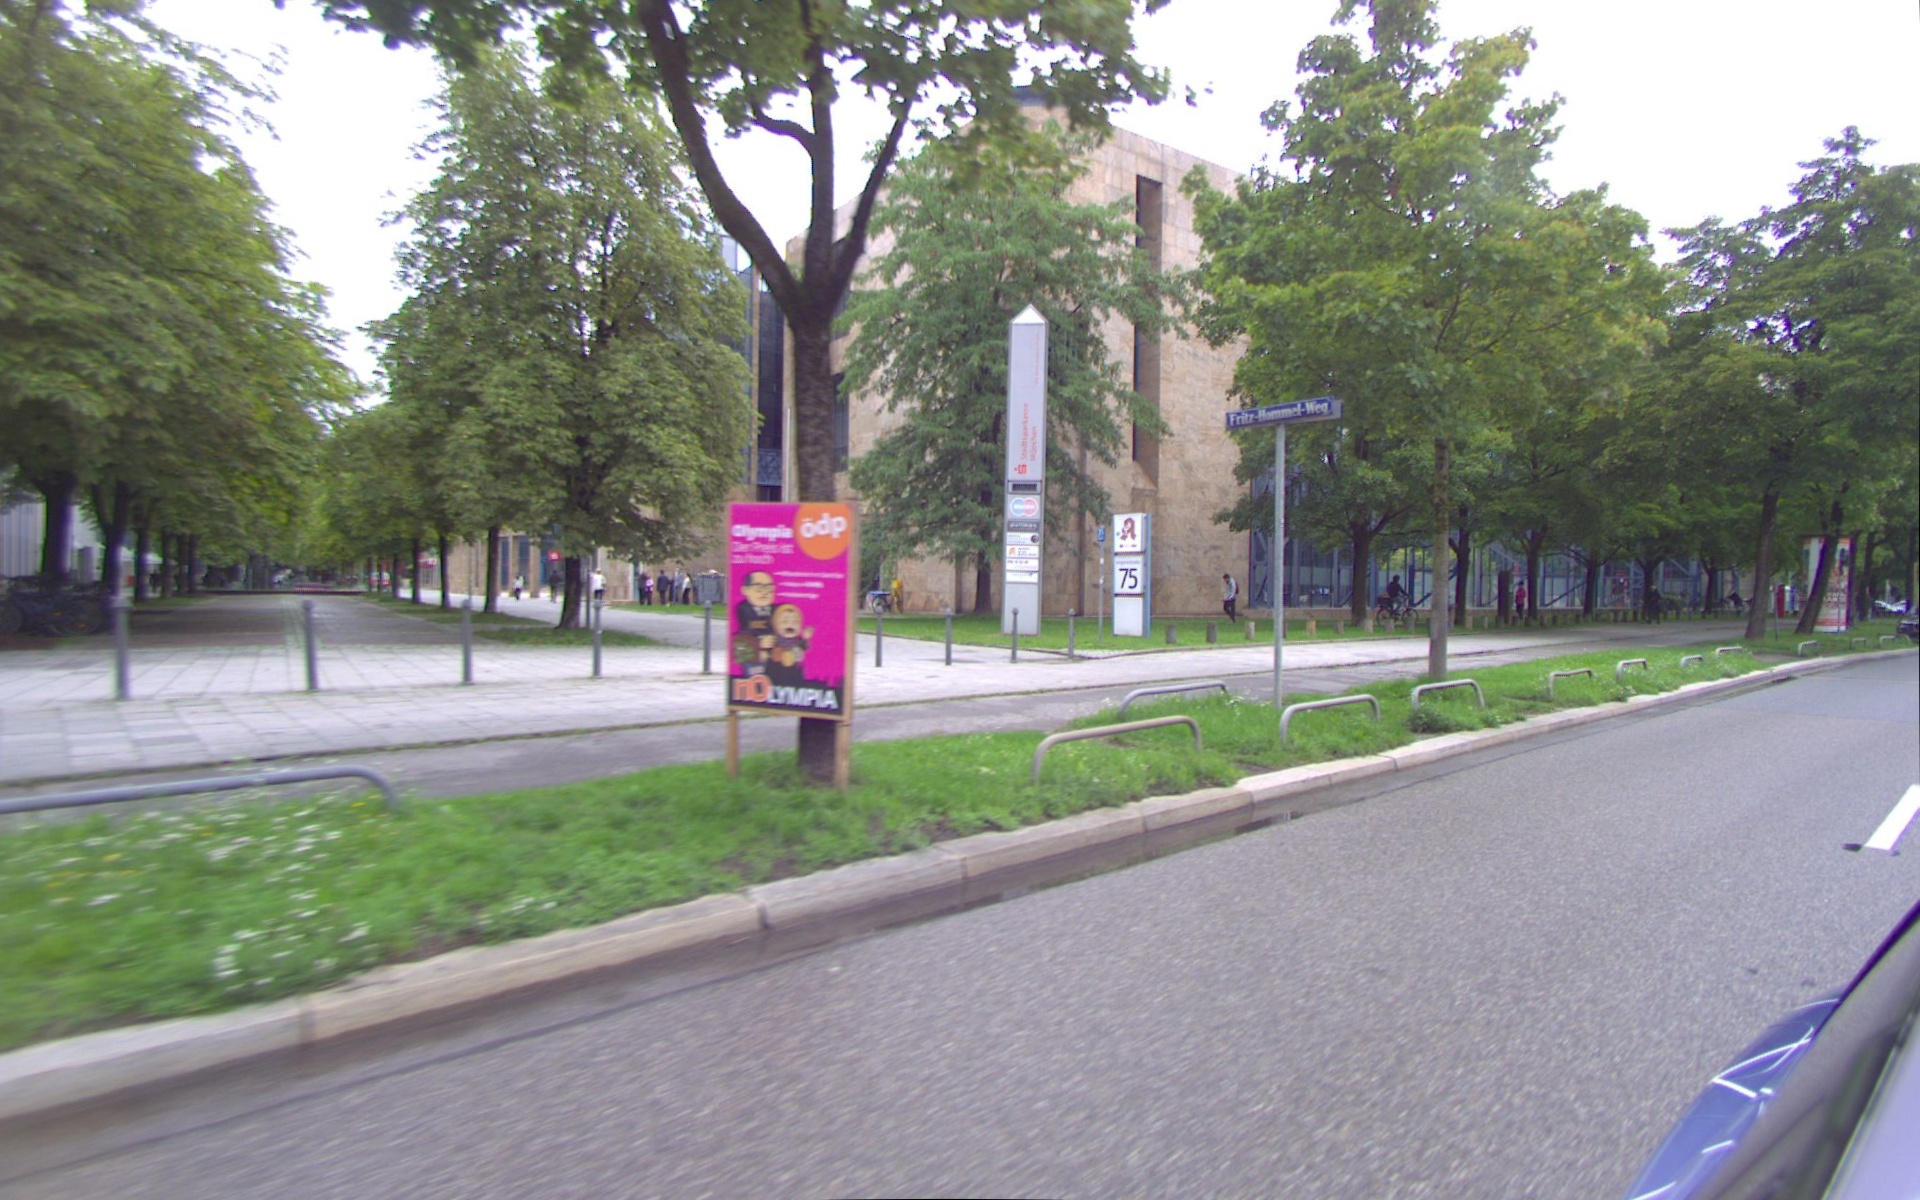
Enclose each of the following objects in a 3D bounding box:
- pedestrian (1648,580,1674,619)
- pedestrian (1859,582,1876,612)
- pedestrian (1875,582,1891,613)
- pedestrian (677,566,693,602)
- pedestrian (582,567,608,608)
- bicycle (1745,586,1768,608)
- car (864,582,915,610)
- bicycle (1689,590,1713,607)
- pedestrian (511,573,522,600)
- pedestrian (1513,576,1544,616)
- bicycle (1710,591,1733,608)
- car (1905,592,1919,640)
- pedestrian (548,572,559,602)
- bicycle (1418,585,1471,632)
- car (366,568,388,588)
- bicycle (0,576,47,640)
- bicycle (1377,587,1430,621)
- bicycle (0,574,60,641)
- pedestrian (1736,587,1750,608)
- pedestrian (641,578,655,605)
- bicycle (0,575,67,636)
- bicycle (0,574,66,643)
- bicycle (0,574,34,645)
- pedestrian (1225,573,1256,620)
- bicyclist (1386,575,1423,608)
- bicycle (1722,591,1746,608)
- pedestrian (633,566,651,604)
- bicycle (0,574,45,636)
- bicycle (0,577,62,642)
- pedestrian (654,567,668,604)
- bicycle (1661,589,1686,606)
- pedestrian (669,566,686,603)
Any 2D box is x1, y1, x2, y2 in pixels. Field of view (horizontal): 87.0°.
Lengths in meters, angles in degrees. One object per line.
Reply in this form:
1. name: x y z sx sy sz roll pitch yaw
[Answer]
1. pedestrian: 31.044 -0.028 44.834 0.633 1.665 0.739 -1 3 -37
2. pedestrian: 52.899 -0.199 58.994 0.601 1.710 0.612 -1 3 -39
3. pedestrian: 53.364 -0.157 58.491 0.649 1.743 0.528 -1 3 -40
4. pedestrian: -13.084 -0.750 48.179 0.591 1.699 0.495 2 1 44
5. pedestrian: -15.263 -0.511 42.326 0.849 1.699 0.589 0 1 -36
6. bicycle: 44.904 -0.173 57.030 2.102 1.207 0.513 -1 1 -37
7. car: -2.809 -0.173 40.314 2.041 1.026 0.677 -2 2 -40
8. bicycle: 42.585 -0.098 58.164 1.730 0.952 0.619 0 1 -37
9. pedestrian: -26.091 -0.814 59.530 0.584 1.589 0.421 1 1 -19
10. pedestrian: 24.353 -0.182 43.357 0.845 1.665 0.741 0 3 -24
11. bicycle: 43.794 -0.035 58.190 2.102 0.952 0.513 0 1 -37
12. car: 34.705 0.570 35.284 4.519 1.610 1.866 0 2 -38
13. pedestrian: -22.511 -0.729 55.997 0.503 1.651 0.507 1 1 -27
14. bicycle: 13.417 0.220 28.006 1.887 1.266 0.621 0 1 -42
15. car: -65.120 -2.437 113.045 1.959 2.039 4.005 -1 -1 -28
16. bicycle: -19.588 0.156 20.211 0.508 1.276 1.990 1 1 44
17. bicycle: 15.655 0.145 35.732 1.730 1.144 0.728 0 1 -23
18. bicycle: -18.545 0.144 19.232 0.508 1.276 2.140 1 1 44
19. pedestrian: 44.110 -0.149 57.014 0.418 1.193 0.507 -1 3 -35
20. pedestrian: -14.997 -0.409 48.655 0.418 1.299 0.507 1 1 40
21. bicycle: -20.292 0.114 21.363 0.552 1.276 2.140 1 1 44
22. bicycle: -18.109 0.160 18.850 0.508 1.276 2.140 1 1 44
23. bicycle: -17.956 0.166 18.112 2.021 1.276 0.607 0 1 -44
24. pedestrian: 9.952 -0.131 35.902 0.860 1.666 0.574 1 1 -12
25. bicyclist: 15.704 -0.299 35.747 0.939 1.144 0.728 0 1 -23
26. bicycle: 44.187 -0.042 57.773 2.102 0.952 0.513 0 1 -37
27. pedestrian: -14.604 -0.692 46.487 0.585 1.699 0.500 1 1 16
28. bicycle: -20.076 0.094 20.742 0.508 1.276 1.923 1 1 44
29. bicycle: -19.098 0.181 19.886 0.508 1.276 2.140 1 1 44
30. pedestrian: -13.706 -0.670 46.413 0.581 1.699 0.504 1 1 -14
31. bicycle: 41.336 -0.142 58.646 2.026 0.952 0.572 -1 2 -37
32. pedestrian: -13.180 -0.709 47.150 0.582 1.699 0.563 0 1 -36
